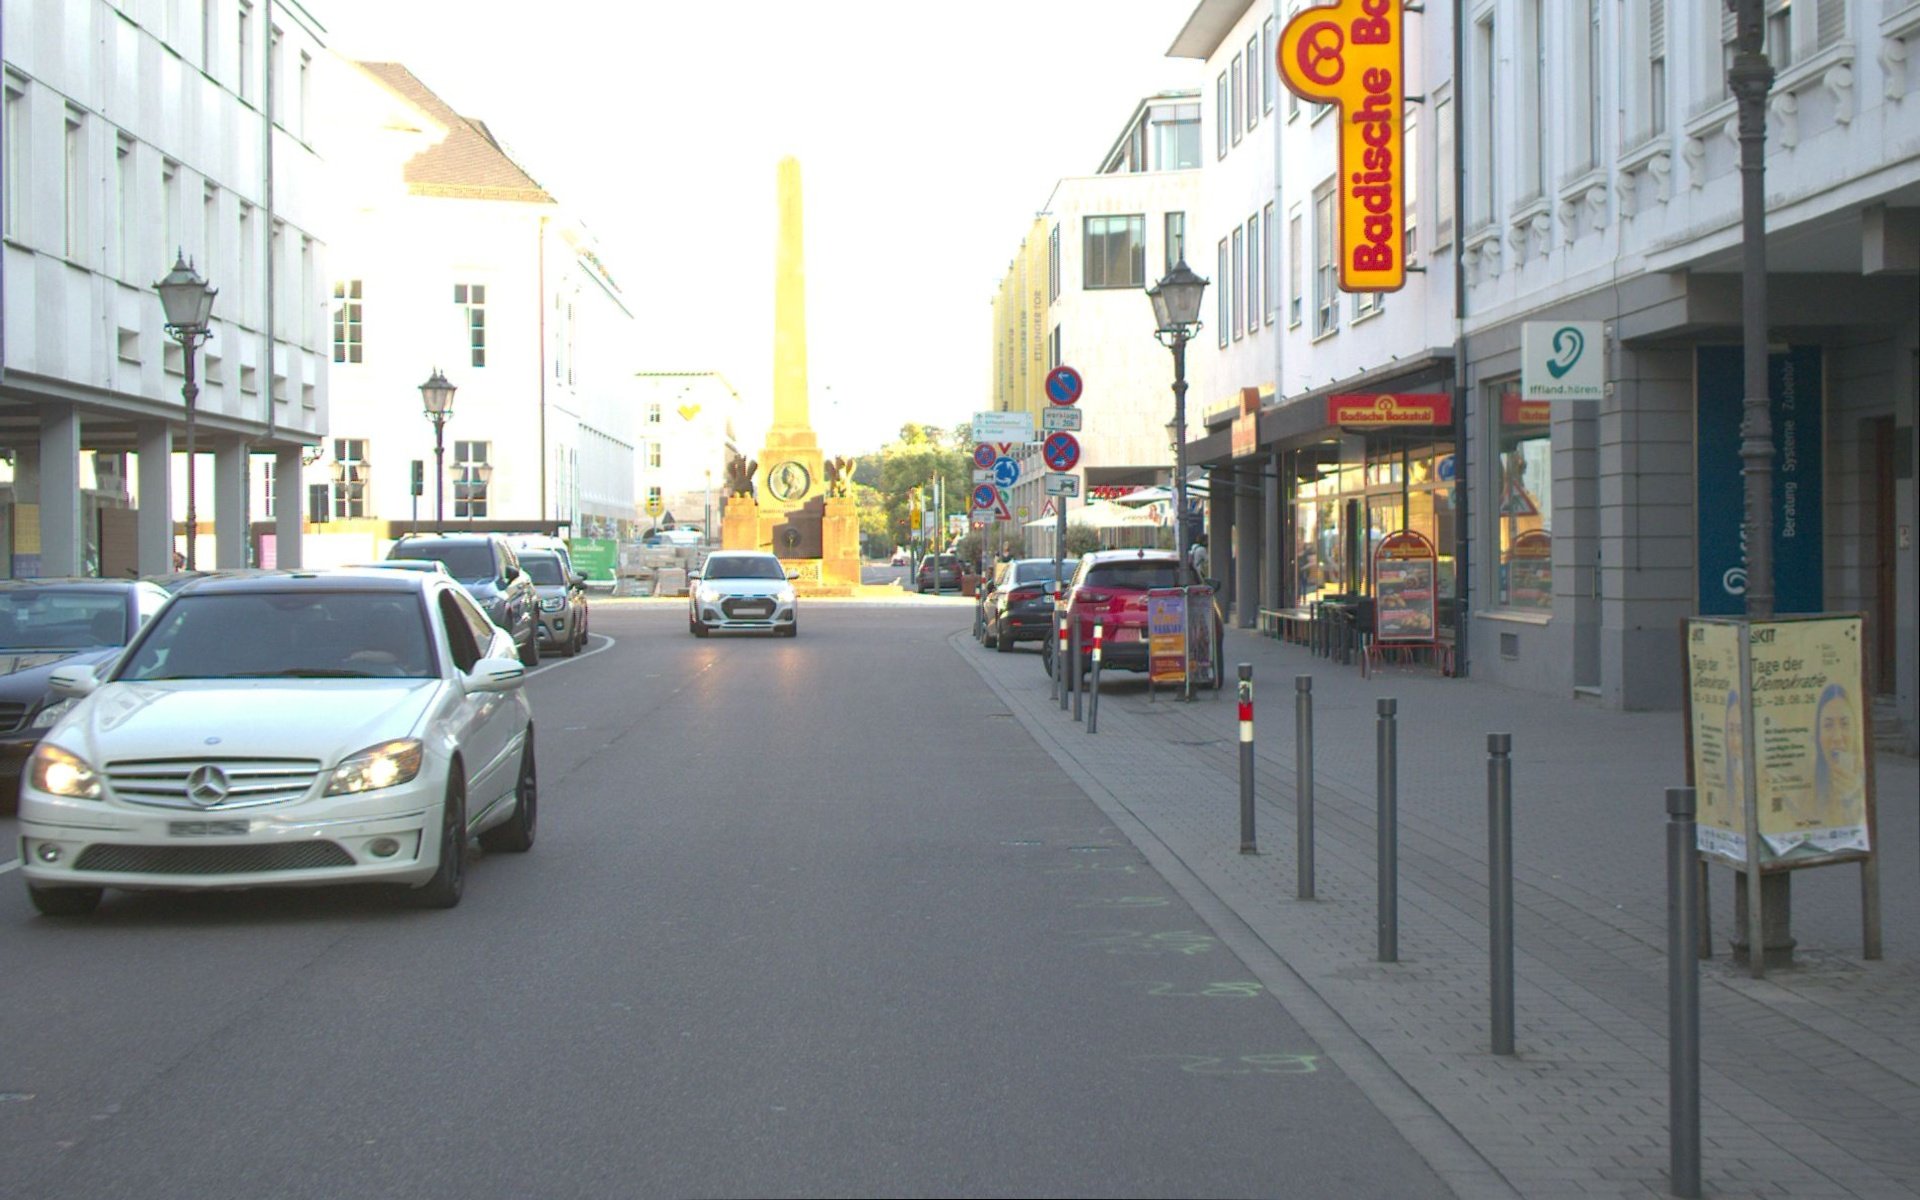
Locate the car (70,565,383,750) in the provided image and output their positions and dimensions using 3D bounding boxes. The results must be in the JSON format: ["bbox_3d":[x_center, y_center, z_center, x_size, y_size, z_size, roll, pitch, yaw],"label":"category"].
[{"bbox_3d":[-6.085,0.426,28.956,1.785,1.404,4.088,-1,1,-1],"label":"car"}]

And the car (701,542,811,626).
[{"bbox_3d":[-3.548,-0.303,60.250,1.764,1.417,4.000,0,1,-1],"label":"car"}]

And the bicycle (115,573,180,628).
[{"bbox_3d":[-14.779,0.000,62.563,0.733,0.980,2.336,0,1,-3],"label":"bicycle"}]

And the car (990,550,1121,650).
[{"bbox_3d":[1.422,-0.026,52.399,1.801,1.459,4.117,0,1,-1],"label":"car"}]

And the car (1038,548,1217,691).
[{"bbox_3d":[1.832,0.184,38.555,1.759,1.518,3.677,0,1,-1],"label":"car"}]

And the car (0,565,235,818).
[{"bbox_3d":[-5.861,0.508,21.572,1.785,1.404,4.088,-1,1,-1],"label":"car"}]

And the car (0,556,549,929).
[{"bbox_3d":[-2.949,0.523,15.288,1.785,1.404,4.088,-1,1,-1],"label":"car"}]

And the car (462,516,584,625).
[{"bbox_3d":[-7.646,-0.530,59.803,1.993,1.809,4.785,0,1,-8],"label":"car"}]

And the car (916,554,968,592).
[{"bbox_3d":[-0.700,-1.063,134.041,1.993,1.459,4.000,0,1,0],"label":"car"}]

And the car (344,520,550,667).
[{"bbox_3d":[-6.487,-0.116,43.951,1.993,1.722,4.516,-2,1,-1],"label":"car"}]

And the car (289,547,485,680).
[{"bbox_3d":[-6.409,0.112,38.807,1.673,1.395,4.001,-1,1,-2],"label":"car"}]

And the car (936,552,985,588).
[{"bbox_3d":[0.012,-1.258,142.526,1.993,1.459,4.000,0,1,0],"label":"car"}]

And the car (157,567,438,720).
[{"bbox_3d":[-6.276,0.377,32.988,1.993,1.349,4.000,0,1,-1],"label":"car"}]

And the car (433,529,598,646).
[{"bbox_3d":[-6.536,-0.212,50.963,1.993,1.656,4.000,0,1,-1],"label":"car"}]

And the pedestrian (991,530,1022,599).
[{"bbox_3d":[1.116,-0.849,82.208,0.690,1.642,0.696,-1,1,-2],"label":"pedestrian"}]
